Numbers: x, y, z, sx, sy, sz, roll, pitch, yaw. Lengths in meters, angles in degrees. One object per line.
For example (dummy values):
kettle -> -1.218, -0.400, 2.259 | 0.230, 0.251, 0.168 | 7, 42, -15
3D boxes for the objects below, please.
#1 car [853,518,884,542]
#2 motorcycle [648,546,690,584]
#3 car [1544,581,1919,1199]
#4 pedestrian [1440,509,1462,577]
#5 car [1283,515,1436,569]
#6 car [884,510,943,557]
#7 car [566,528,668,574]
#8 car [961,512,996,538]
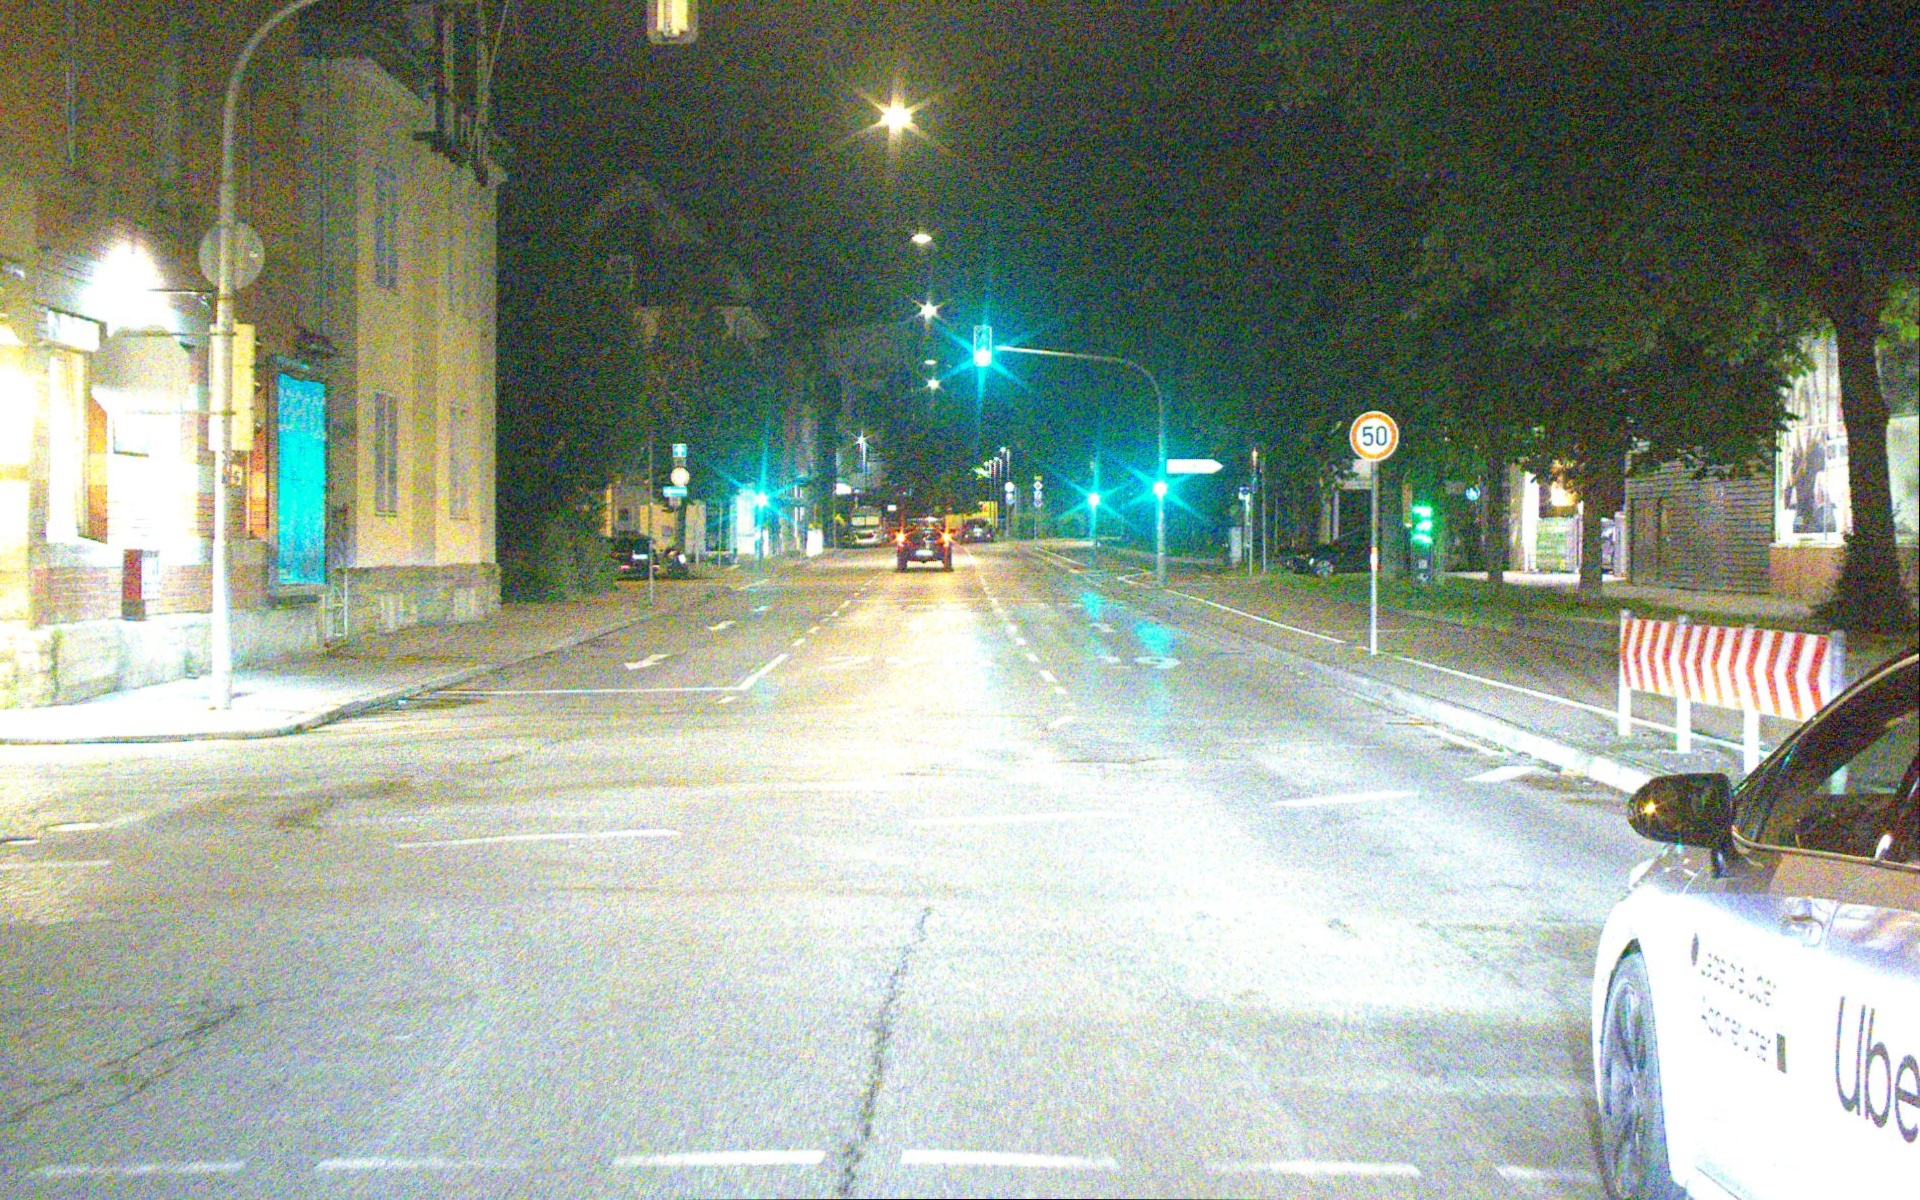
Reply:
car -> -5.484, -4.214, 205.494 | 1.777, 1.385, 4.001 | -1, 1, -2
motorcycle -> -9.461, -1.136, 111.677 | 0.781, 1.200, 2.450 | -1, 1, -19
car -> 2.303, 0.738, 5.900 | 1.729, 1.430, 4.211 | 2, 1, -2
pedestrian -> 14.647, -1.700, 102.499 | 0.531, 2.007, 0.670 | 0, 1, -1
car -> 10.772, -1.570, 92.875 | 3.987, 1.381, 1.771 | -1, 1, 3
car -> -1.673, -2.337, 121.758 | 1.993, 1.634, 4.000 | 0, 1, -2
car -> -11.439, -1.630, 114.457 | 1.803, 1.481, 4.000 | -2, 2, -32
car -> 1.179, -4.798, 220.050 | 1.993, 1.590, 4.001 | -1, 1, -3
